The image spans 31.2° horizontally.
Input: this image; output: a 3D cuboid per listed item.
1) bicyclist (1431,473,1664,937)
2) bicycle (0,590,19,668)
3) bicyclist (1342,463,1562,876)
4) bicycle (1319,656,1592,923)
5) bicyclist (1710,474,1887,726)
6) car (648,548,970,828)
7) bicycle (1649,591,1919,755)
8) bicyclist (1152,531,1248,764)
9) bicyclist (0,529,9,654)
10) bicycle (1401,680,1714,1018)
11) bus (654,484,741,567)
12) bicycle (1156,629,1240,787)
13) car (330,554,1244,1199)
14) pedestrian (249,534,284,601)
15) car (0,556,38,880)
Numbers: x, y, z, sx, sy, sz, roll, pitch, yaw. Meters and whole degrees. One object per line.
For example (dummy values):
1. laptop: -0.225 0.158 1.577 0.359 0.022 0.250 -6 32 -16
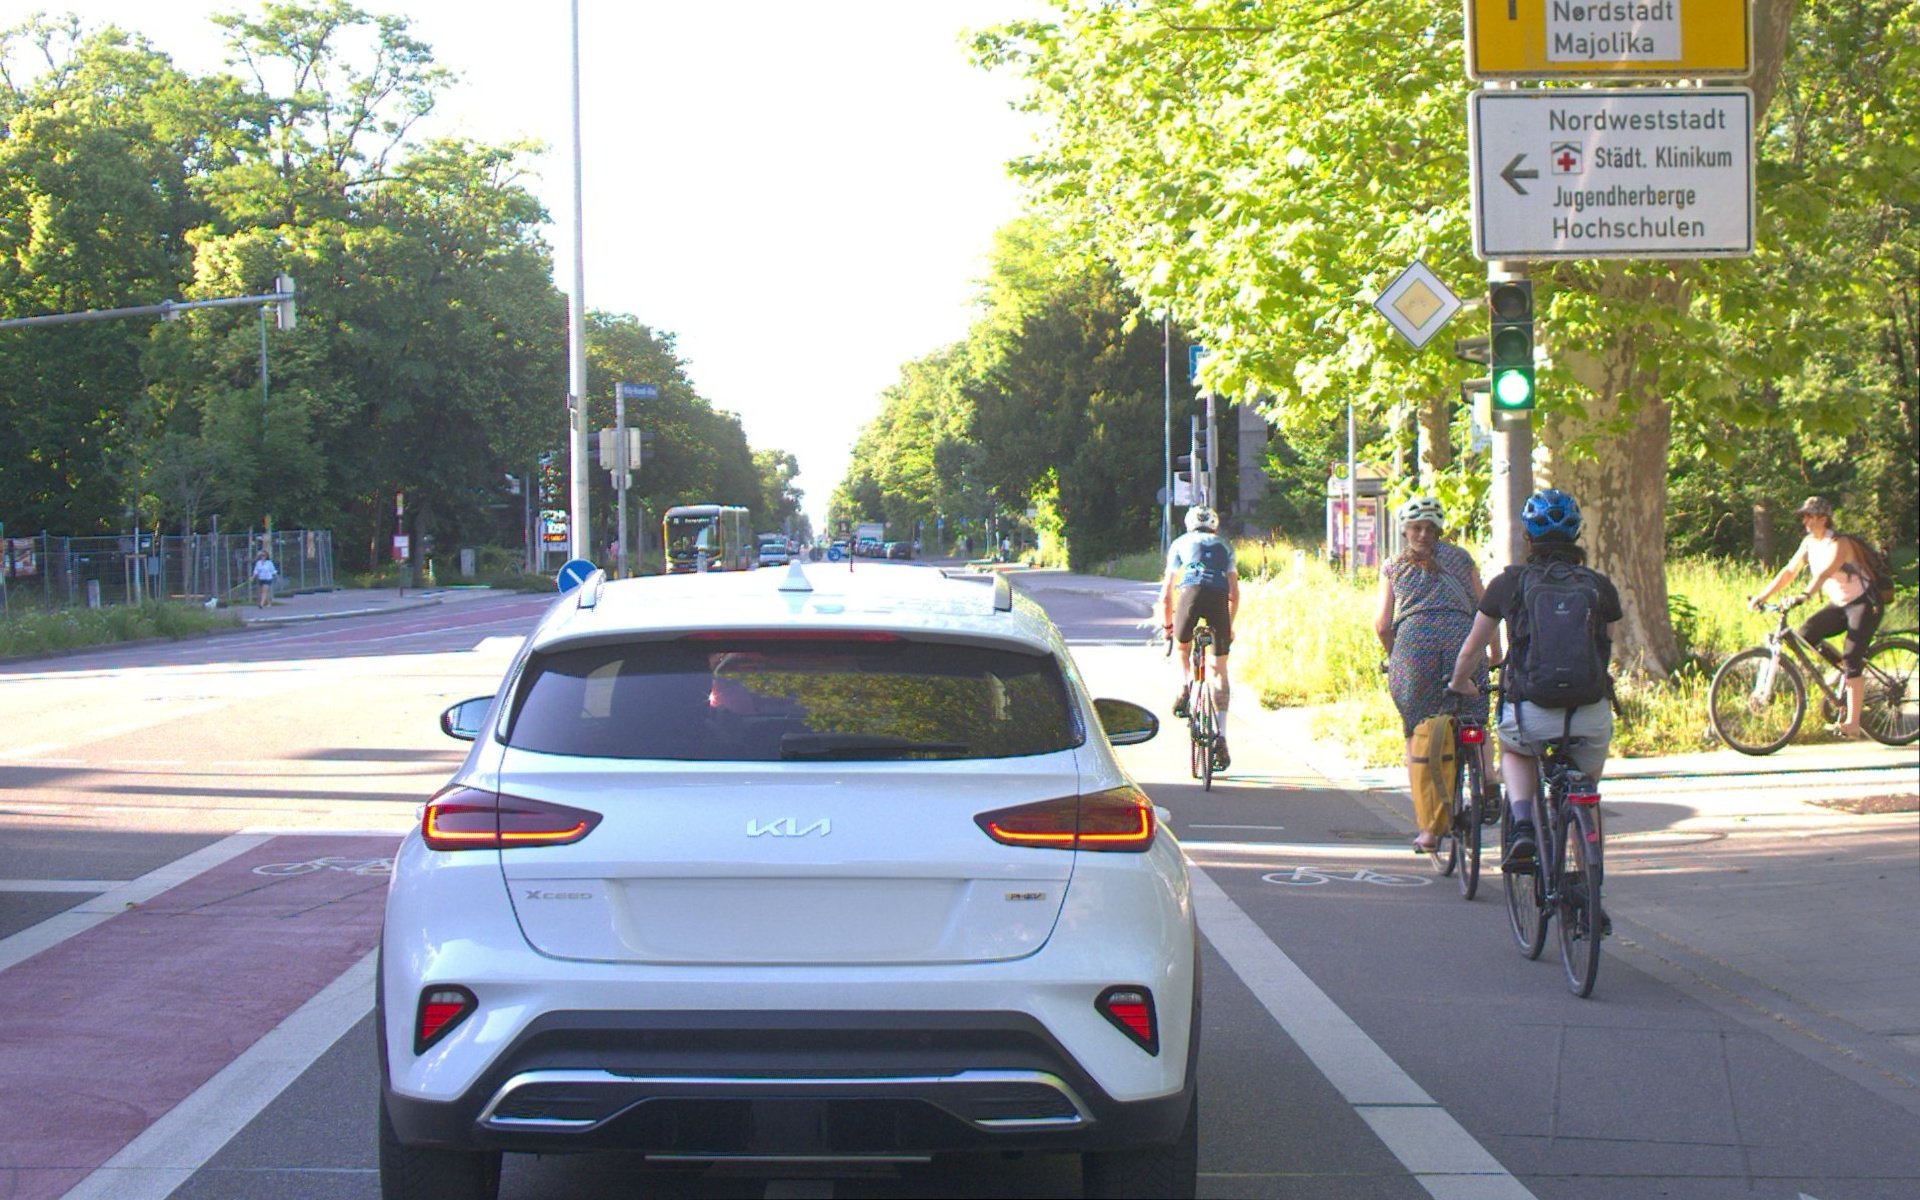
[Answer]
1. bicyclist: 2.077 0.356 12.219 0.665 1.596 0.721 0 1 -2
2. bicycle: -12.684 0.399 43.722 0.663 0.985 2.504 -2 1 2
3. bicyclist: 2.209 0.294 15.560 0.753 1.789 1.165 1 1 -2
4. bicycle: 2.197 0.811 15.591 0.758 1.009 2.570 1 1 -2
5. bicyclist: 5.526 -0.007 22.676 0.846 1.608 0.736 -2 1 -13
6. car: -0.897 0.456 20.612 1.728 1.478 3.517 -2 1 -2
7. bicycle: 5.698 0.465 22.720 2.092 0.972 0.751 -2 1 -13
8. bicyclist: 1.542 0.297 22.148 0.554 1.473 0.717 0 0 -1
9. bicyclist: -12.701 -0.090 43.589 0.875 1.603 1.188 -2 1 1
10. bicycle: 2.073 0.832 12.201 0.668 1.006 2.081 0 1 -2
11. bus: -12.190 -3.464 160.984 3.741 3.660 13.242 -1 1 -3
12. bicycle: 1.522 0.678 22.130 0.401 0.953 1.551 0 0 -1
13. car: -0.410 0.638 8.856 1.821 1.475 3.937 0 1 -2
14. pedestrian: -18.642 -0.875 92.407 0.785 1.779 0.751 0 0 0
15. car: -5.007 0.563 13.366 1.704 1.400 4.265 -2 1 -1
